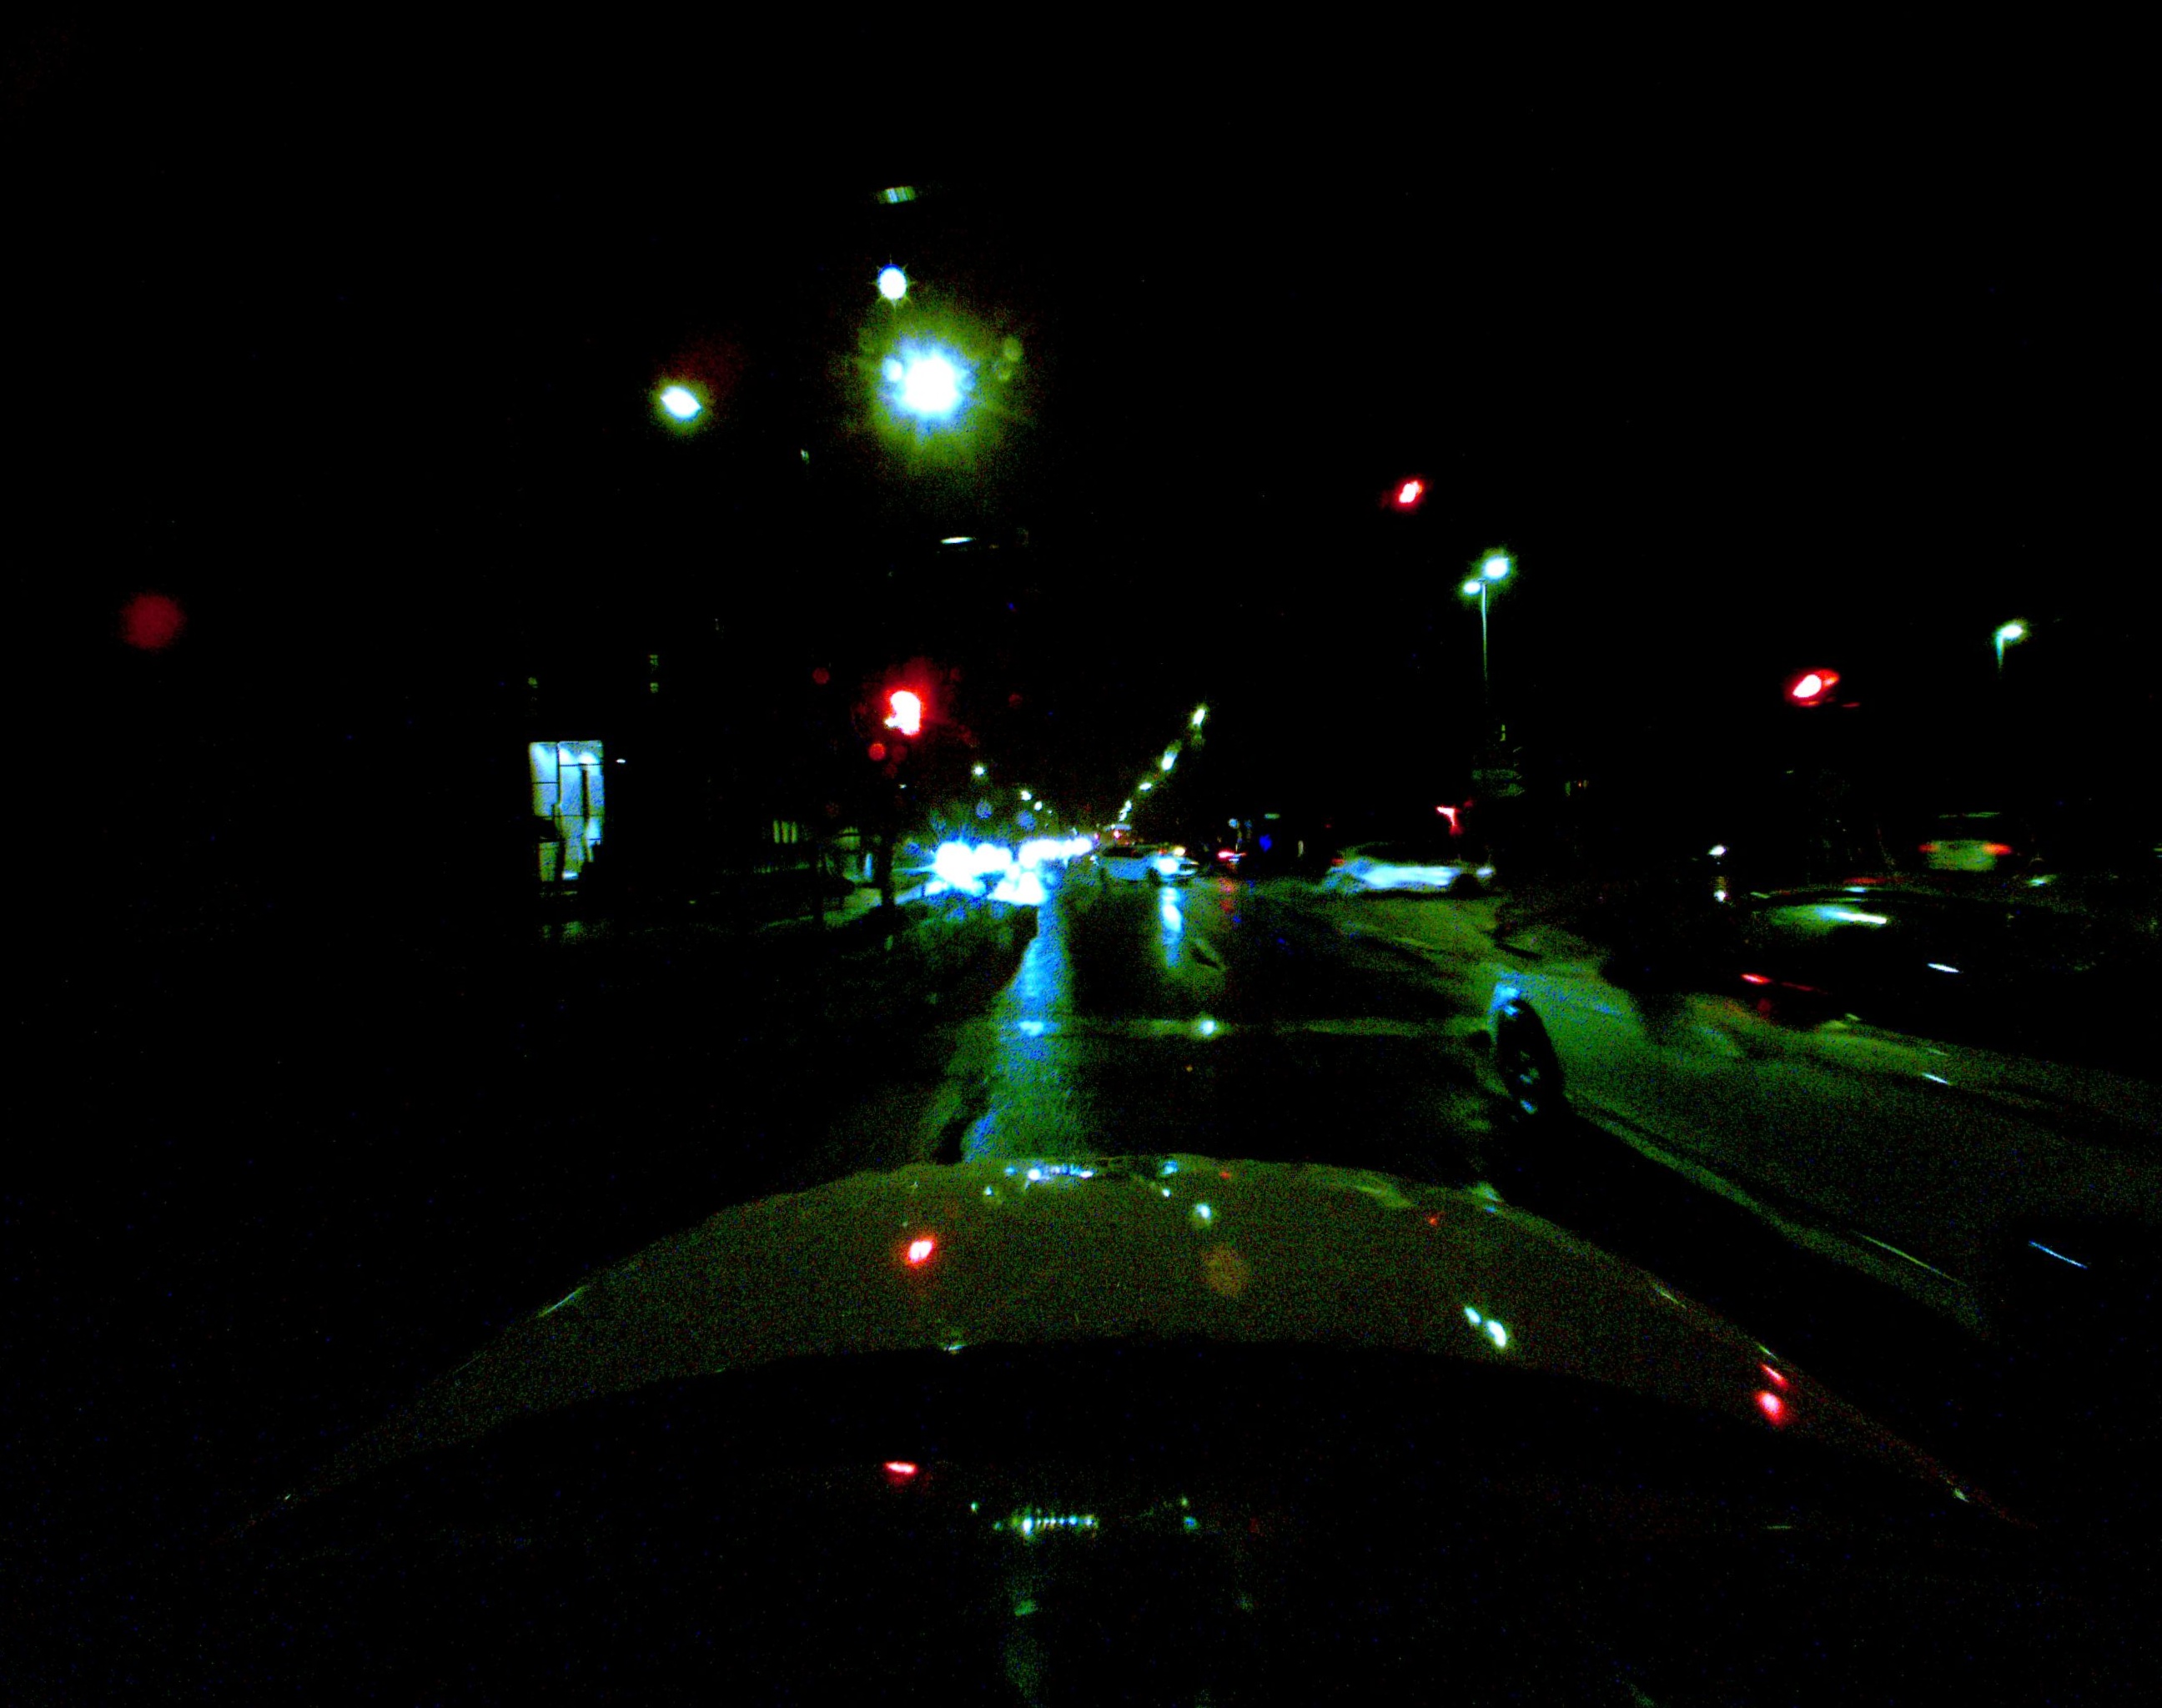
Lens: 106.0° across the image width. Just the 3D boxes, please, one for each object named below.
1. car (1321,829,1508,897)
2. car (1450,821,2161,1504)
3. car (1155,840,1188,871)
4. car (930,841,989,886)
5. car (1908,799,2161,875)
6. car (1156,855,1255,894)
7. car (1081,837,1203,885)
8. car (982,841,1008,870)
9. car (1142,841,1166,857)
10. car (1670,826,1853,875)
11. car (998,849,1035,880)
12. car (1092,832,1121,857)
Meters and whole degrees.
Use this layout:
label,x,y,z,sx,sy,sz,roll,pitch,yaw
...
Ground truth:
label,x,y,z,sx,sy,sz,roll,pitch,yaw
car,8.660,0.247,21.568,4.380,1.649,1.845,-1,0,16
car,3.183,0.643,2.963,1.714,1.446,4.383,-3,0,1
car,6.106,0.088,55.548,2.029,2.014,4.311,-1,0,4
car,-5.069,0.389,33.545,1.723,1.734,3.740,-1,0,-19
car,24.501,-0.408,20.775,4.803,1.769,1.838,-1,0,3
car,5.977,0.971,39.087,4.254,1.785,2.056,-1,-1,24
car,2.217,0.280,30.412,1.851,1.671,4.408,-1,-1,-44
car,-6.220,0.098,59.371,1.695,2.014,3.563,-1,0,-4
car,7.563,-0.525,84.735,2.085,1.545,4.305,-1,0,-1
car,24.487,-0.107,29.479,4.822,1.590,1.858,-1,0,9
car,-3.466,0.562,44.655,1.898,1.618,4.508,-1,0,-3
car,2.315,-0.807,74.261,2.434,2.194,5.077,-1,0,-1
